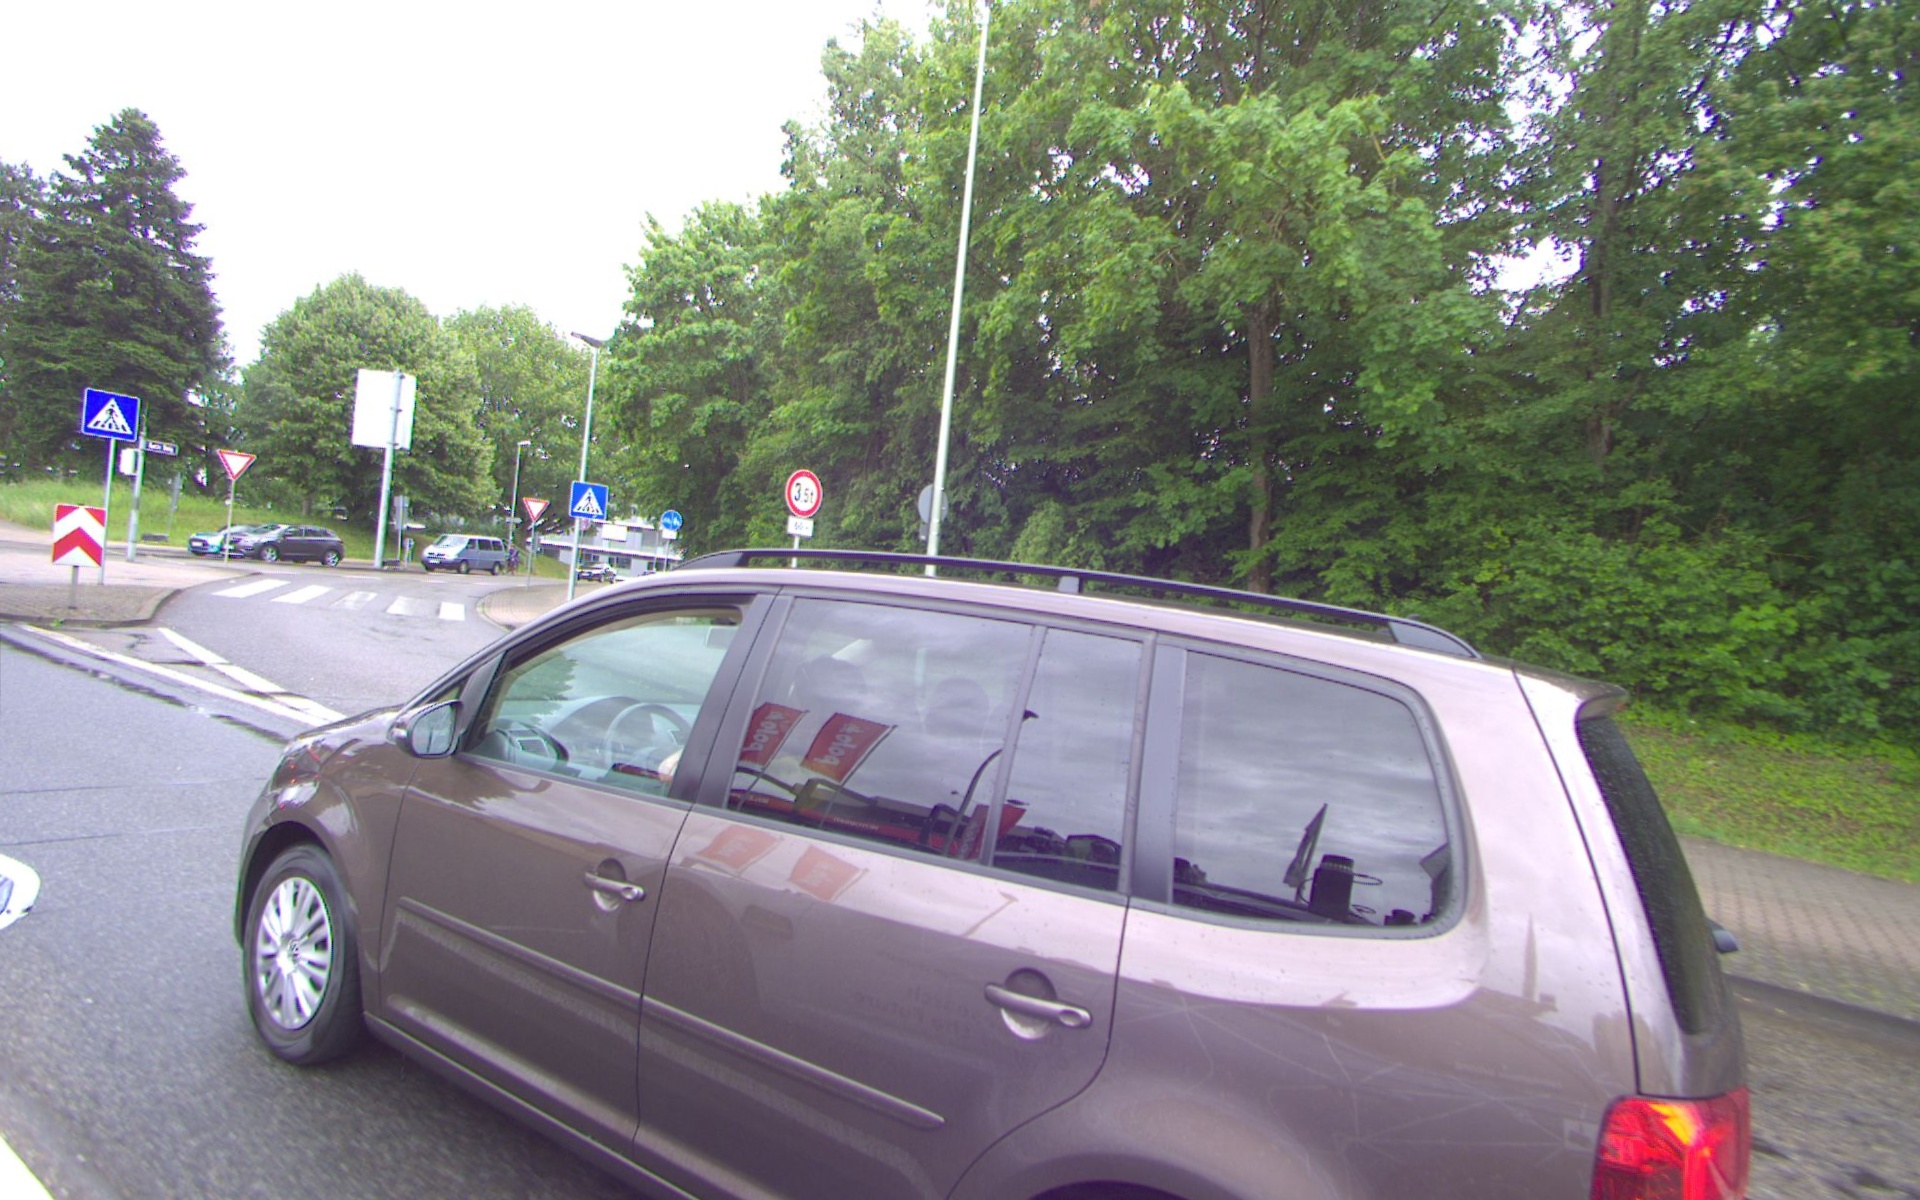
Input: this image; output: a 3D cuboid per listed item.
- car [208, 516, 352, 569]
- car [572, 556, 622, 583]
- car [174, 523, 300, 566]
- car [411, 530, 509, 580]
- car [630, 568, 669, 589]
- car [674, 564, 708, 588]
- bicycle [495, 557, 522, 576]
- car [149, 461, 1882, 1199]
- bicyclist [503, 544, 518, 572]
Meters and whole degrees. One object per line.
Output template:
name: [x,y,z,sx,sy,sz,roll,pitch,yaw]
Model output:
car: [-26.292,-2.175,39.078,1.865,1.485,4.331,7,0,17]
car: [-24.006,-1.979,66.685,1.805,1.465,3.999,6,0,-1]
car: [-29.180,-2.211,40.771,1.578,1.310,3.999,8,1,14]
car: [-24.166,-2.114,48.866,1.865,1.874,4.744,8,0,5]
car: [-24.868,-1.678,80.665,1.923,1.337,3.998,7,0,-4]
car: [-22.275,-1.989,83.496,1.788,1.729,3.942,8,0,-4]
bicycle: [-25.339,-1.873,56.490,0.568,0.964,1.750,7,0,4]
car: [-0.361,0.671,2.937,4.061,1.616,1.717,8,0,31]
bicyclist: [-25.276,-2.357,56.578,0.446,1.507,0.562,7,1,4]
